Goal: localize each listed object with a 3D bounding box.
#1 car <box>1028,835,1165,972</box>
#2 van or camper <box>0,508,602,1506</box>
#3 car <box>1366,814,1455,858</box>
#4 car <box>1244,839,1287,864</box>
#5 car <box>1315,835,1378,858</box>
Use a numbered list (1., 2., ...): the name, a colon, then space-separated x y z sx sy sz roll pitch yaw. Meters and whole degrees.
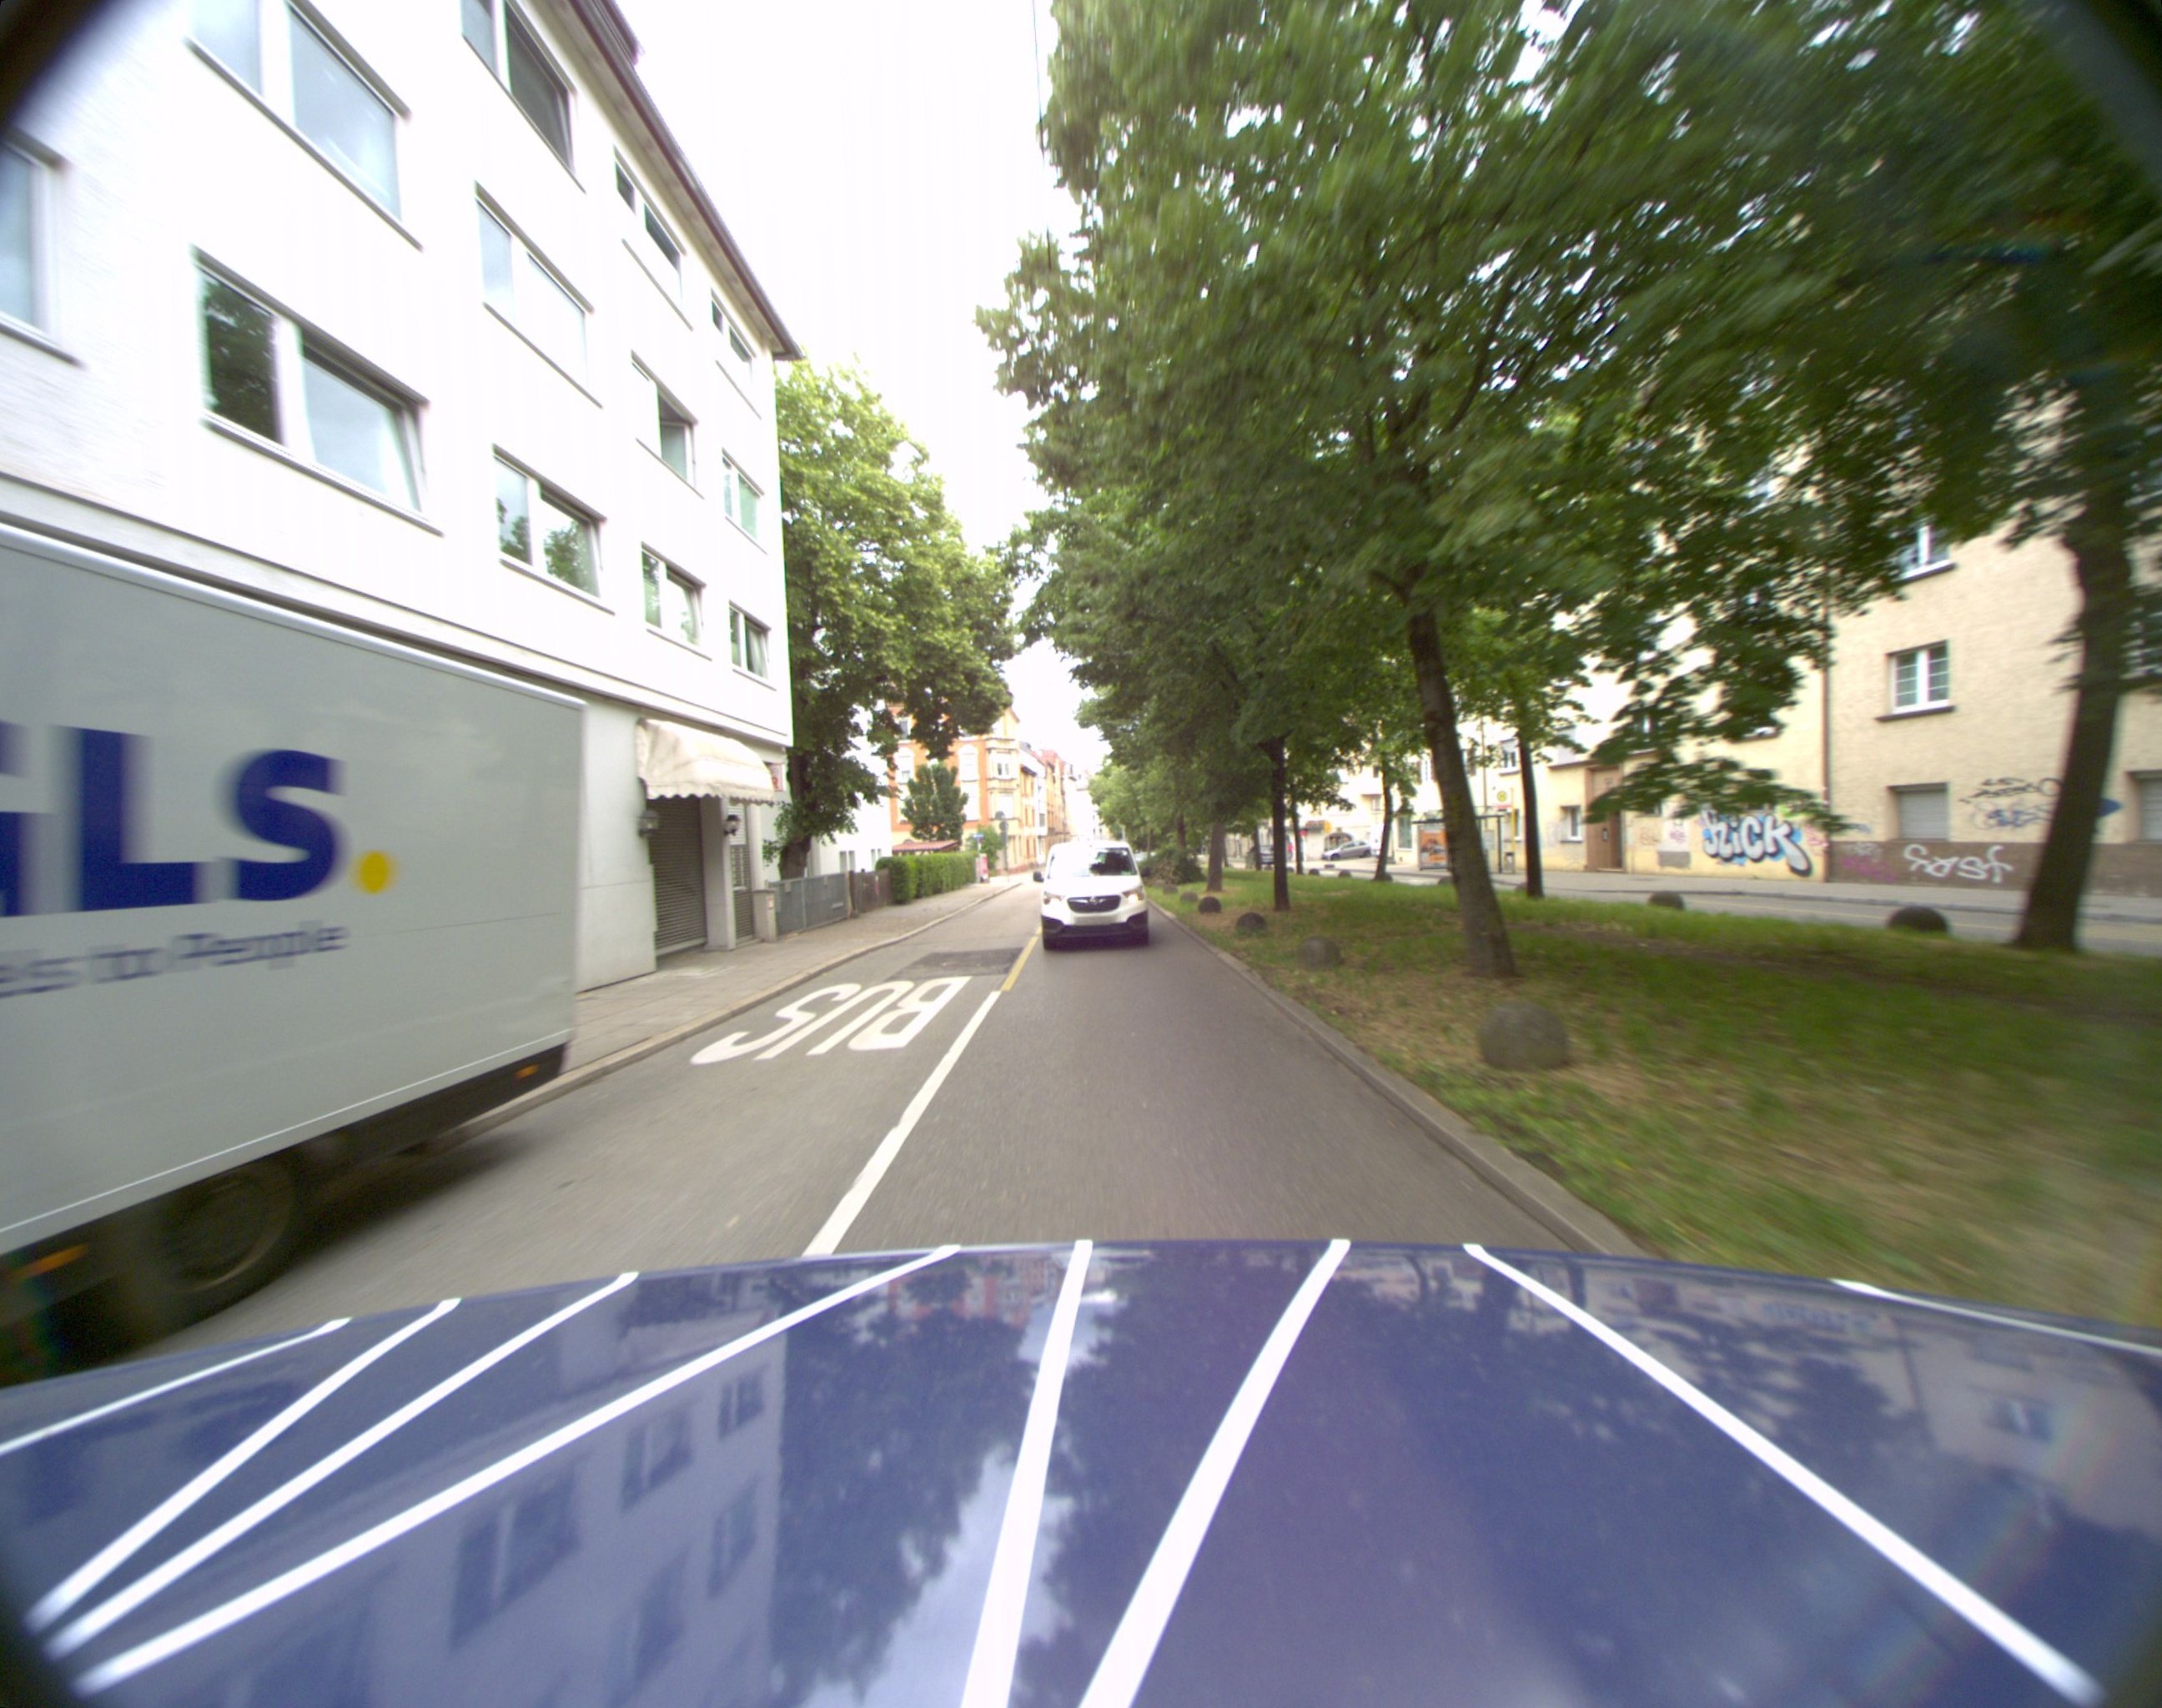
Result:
1. car: 0.448 0.684 12.943 1.745 1.830 4.345 -4 0 7
2. van or camper: -4.249 0.444 1.160 2.486 2.787 7.236 -1 1 -1
3. car: 22.716 -1.223 52.484 5.190 2.721 2.175 -4 1 -10
4. car: 13.096 -0.151 54.069 1.953 1.619 4.364 -2 0 0
5. car: 21.379 -0.589 61.346 4.298 1.411 2.048 -5 0 3
